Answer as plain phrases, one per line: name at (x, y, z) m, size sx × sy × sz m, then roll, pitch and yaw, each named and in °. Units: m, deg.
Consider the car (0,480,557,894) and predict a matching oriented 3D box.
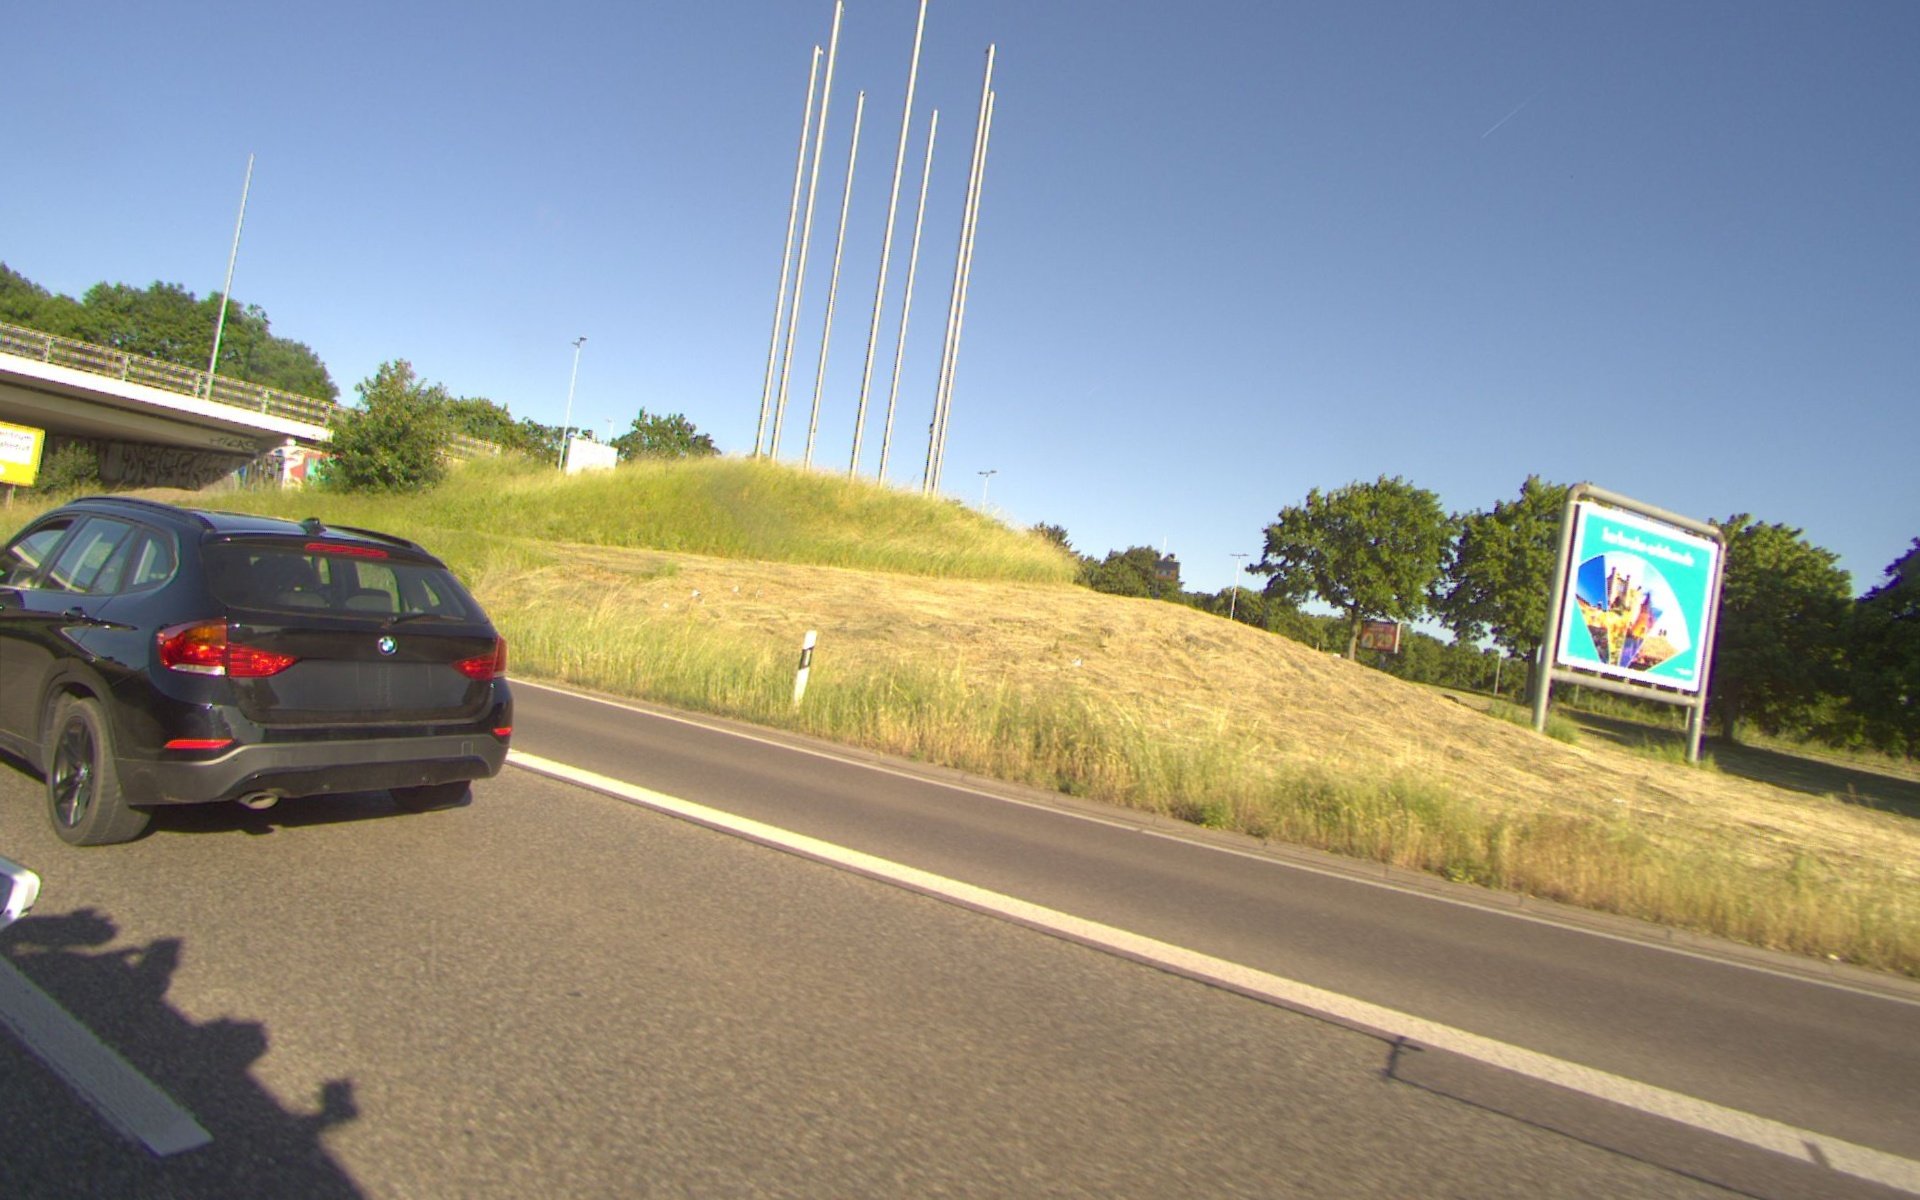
car at (-4.562, 0.204, 5.793) m, size 4.502 × 1.525 × 1.701 m, roll 7°, pitch 0°, yaw 31°
